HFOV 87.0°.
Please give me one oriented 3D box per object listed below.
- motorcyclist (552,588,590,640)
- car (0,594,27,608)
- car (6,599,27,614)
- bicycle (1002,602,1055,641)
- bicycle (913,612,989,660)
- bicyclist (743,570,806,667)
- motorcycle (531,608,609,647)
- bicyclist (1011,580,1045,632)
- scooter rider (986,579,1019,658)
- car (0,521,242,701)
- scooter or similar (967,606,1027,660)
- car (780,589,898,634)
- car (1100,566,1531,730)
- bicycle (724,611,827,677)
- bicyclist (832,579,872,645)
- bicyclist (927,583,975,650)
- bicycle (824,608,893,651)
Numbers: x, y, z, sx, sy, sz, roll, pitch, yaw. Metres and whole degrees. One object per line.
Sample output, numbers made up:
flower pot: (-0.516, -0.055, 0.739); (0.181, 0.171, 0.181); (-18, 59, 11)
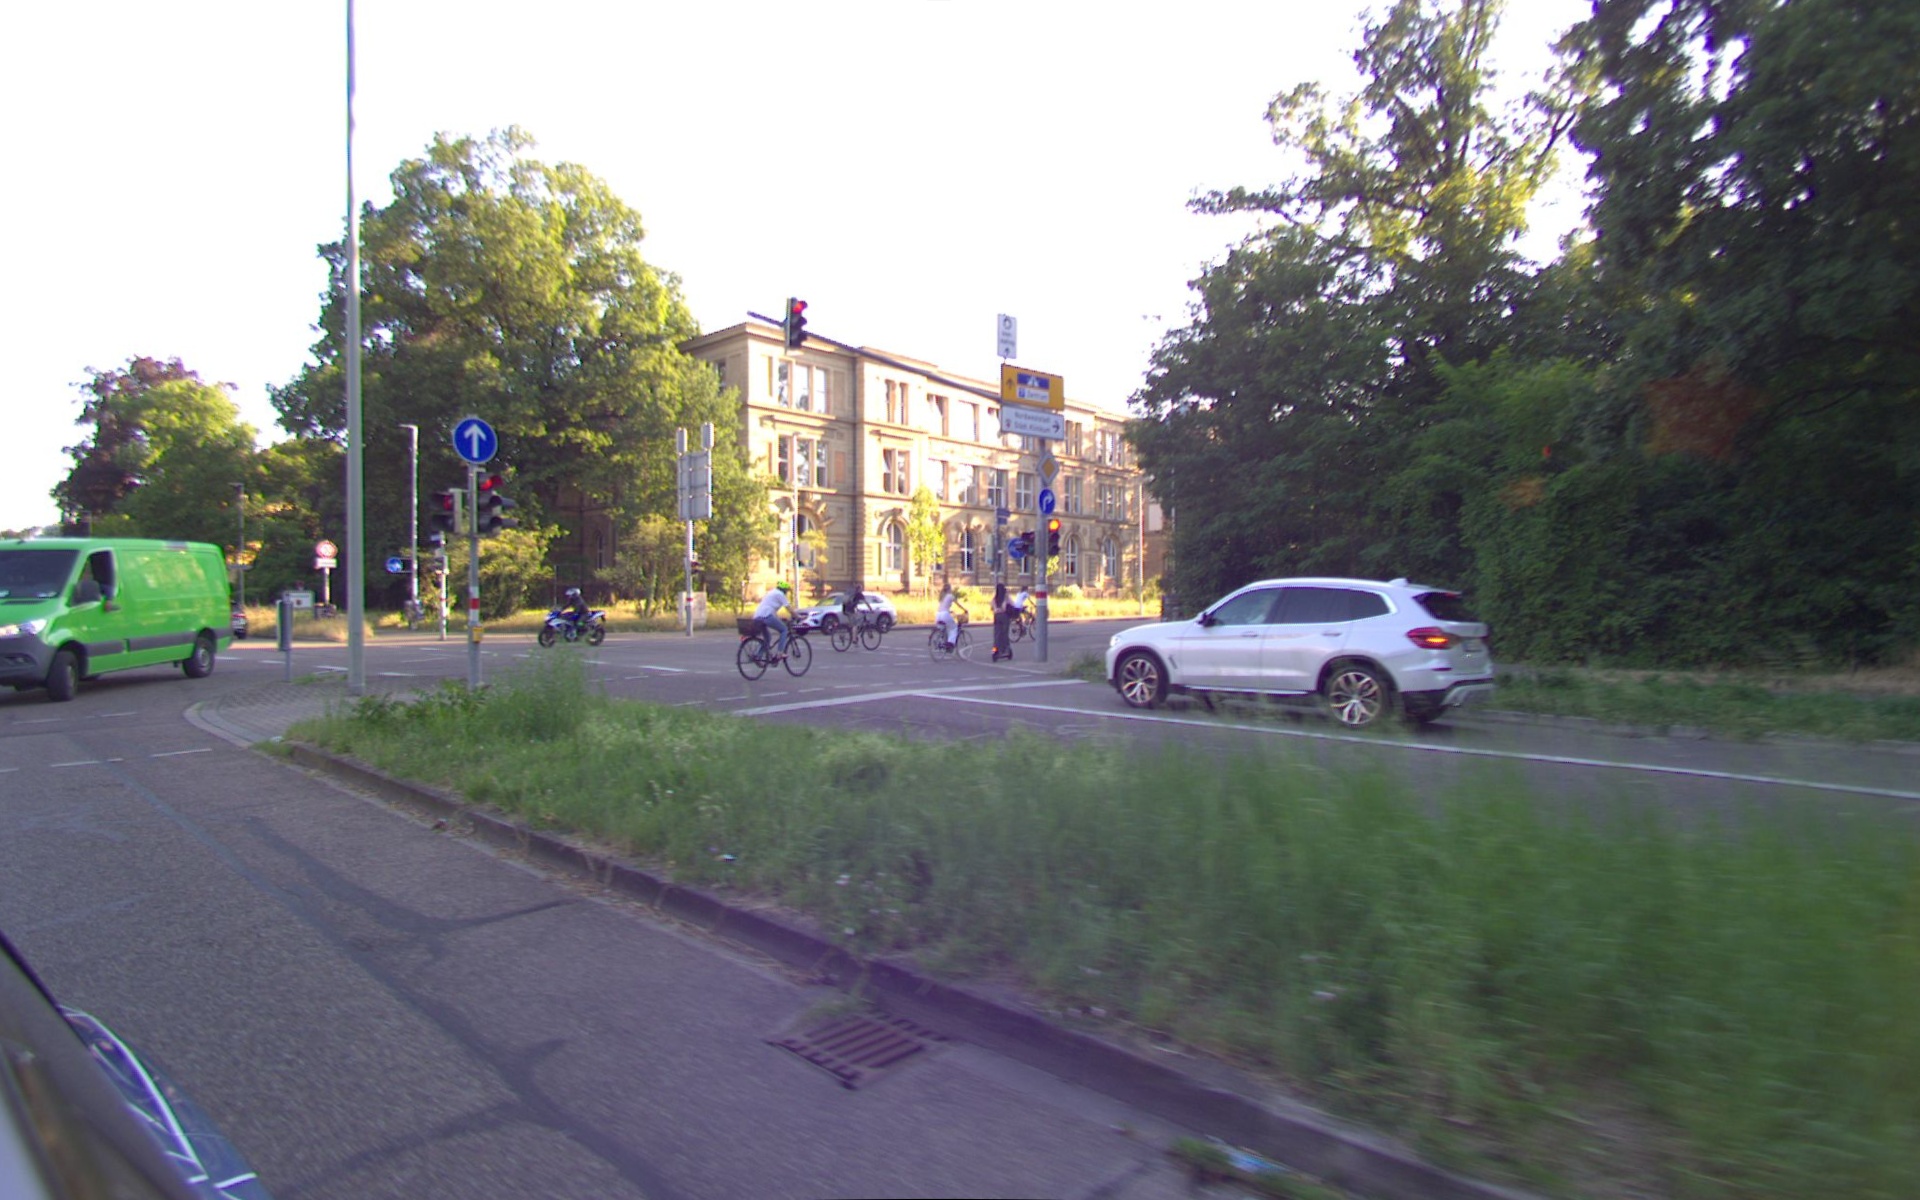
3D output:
motorcyclist: (-10.586, 0.379, 27.546); (0.752, 1.368, 0.694); (-1, -1, 43)
car: (-113.978, 0.116, 120.891); (1.823, 1.630, 3.704); (0, 0, 45)
car: (-109.781, 0.774, 117.788); (3.639, 1.741, 1.653); (0, 0, 45)
bicycle: (2.133, 0.651, 31.436); (0.615, 1.146, 1.858); (1, 1, 43)
bicycle: (-0.188, 0.811, 23.448); (0.771, 1.014, 1.993); (0, 1, 34)
bicyclist: (-3.119, 0.299, 17.042); (0.555, 1.581, 0.887); (-1, 0, 38)
motorcycle: (-10.596, 0.723, 27.545); (0.756, 1.009, 1.852); (0, 0, 43)
bicyclist: (2.117, 0.182, 31.421); (0.605, 1.598, 0.897); (1, 1, 43)
scooter rider: (0.963, 0.424, 23.128); (0.567, 1.780, 0.497); (0, 0, 44)
car: (-13.785, 0.122, 15.694); (2.012, 2.295, 5.955); (0, 1, -11)
scooter or similar: (0.850, 0.732, 23.013); (0.564, 1.198, 1.401); (0, 0, 44)
car: (-4.618, 0.407, 39.059); (1.770, 1.648, 4.449); (0, 0, 43)
car: (4.106, 0.502, 12.318); (1.800, 1.625, 4.645); (3, -2, -44)
bicycle: (-3.084, 0.714, 17.078); (0.564, 1.022, 1.779); (-1, 0, 38)
bicyclist: (-2.834, 0.296, 26.533); (0.701, 1.679, 0.787); (1, 1, 43)
bicyclist: (-0.209, 0.366, 23.415); (0.760, 1.529, 0.847); (0, 1, 34)
bicycle: (-2.665, 0.768, 26.730); (0.701, 1.071, 1.799); (1, 1, 43)
